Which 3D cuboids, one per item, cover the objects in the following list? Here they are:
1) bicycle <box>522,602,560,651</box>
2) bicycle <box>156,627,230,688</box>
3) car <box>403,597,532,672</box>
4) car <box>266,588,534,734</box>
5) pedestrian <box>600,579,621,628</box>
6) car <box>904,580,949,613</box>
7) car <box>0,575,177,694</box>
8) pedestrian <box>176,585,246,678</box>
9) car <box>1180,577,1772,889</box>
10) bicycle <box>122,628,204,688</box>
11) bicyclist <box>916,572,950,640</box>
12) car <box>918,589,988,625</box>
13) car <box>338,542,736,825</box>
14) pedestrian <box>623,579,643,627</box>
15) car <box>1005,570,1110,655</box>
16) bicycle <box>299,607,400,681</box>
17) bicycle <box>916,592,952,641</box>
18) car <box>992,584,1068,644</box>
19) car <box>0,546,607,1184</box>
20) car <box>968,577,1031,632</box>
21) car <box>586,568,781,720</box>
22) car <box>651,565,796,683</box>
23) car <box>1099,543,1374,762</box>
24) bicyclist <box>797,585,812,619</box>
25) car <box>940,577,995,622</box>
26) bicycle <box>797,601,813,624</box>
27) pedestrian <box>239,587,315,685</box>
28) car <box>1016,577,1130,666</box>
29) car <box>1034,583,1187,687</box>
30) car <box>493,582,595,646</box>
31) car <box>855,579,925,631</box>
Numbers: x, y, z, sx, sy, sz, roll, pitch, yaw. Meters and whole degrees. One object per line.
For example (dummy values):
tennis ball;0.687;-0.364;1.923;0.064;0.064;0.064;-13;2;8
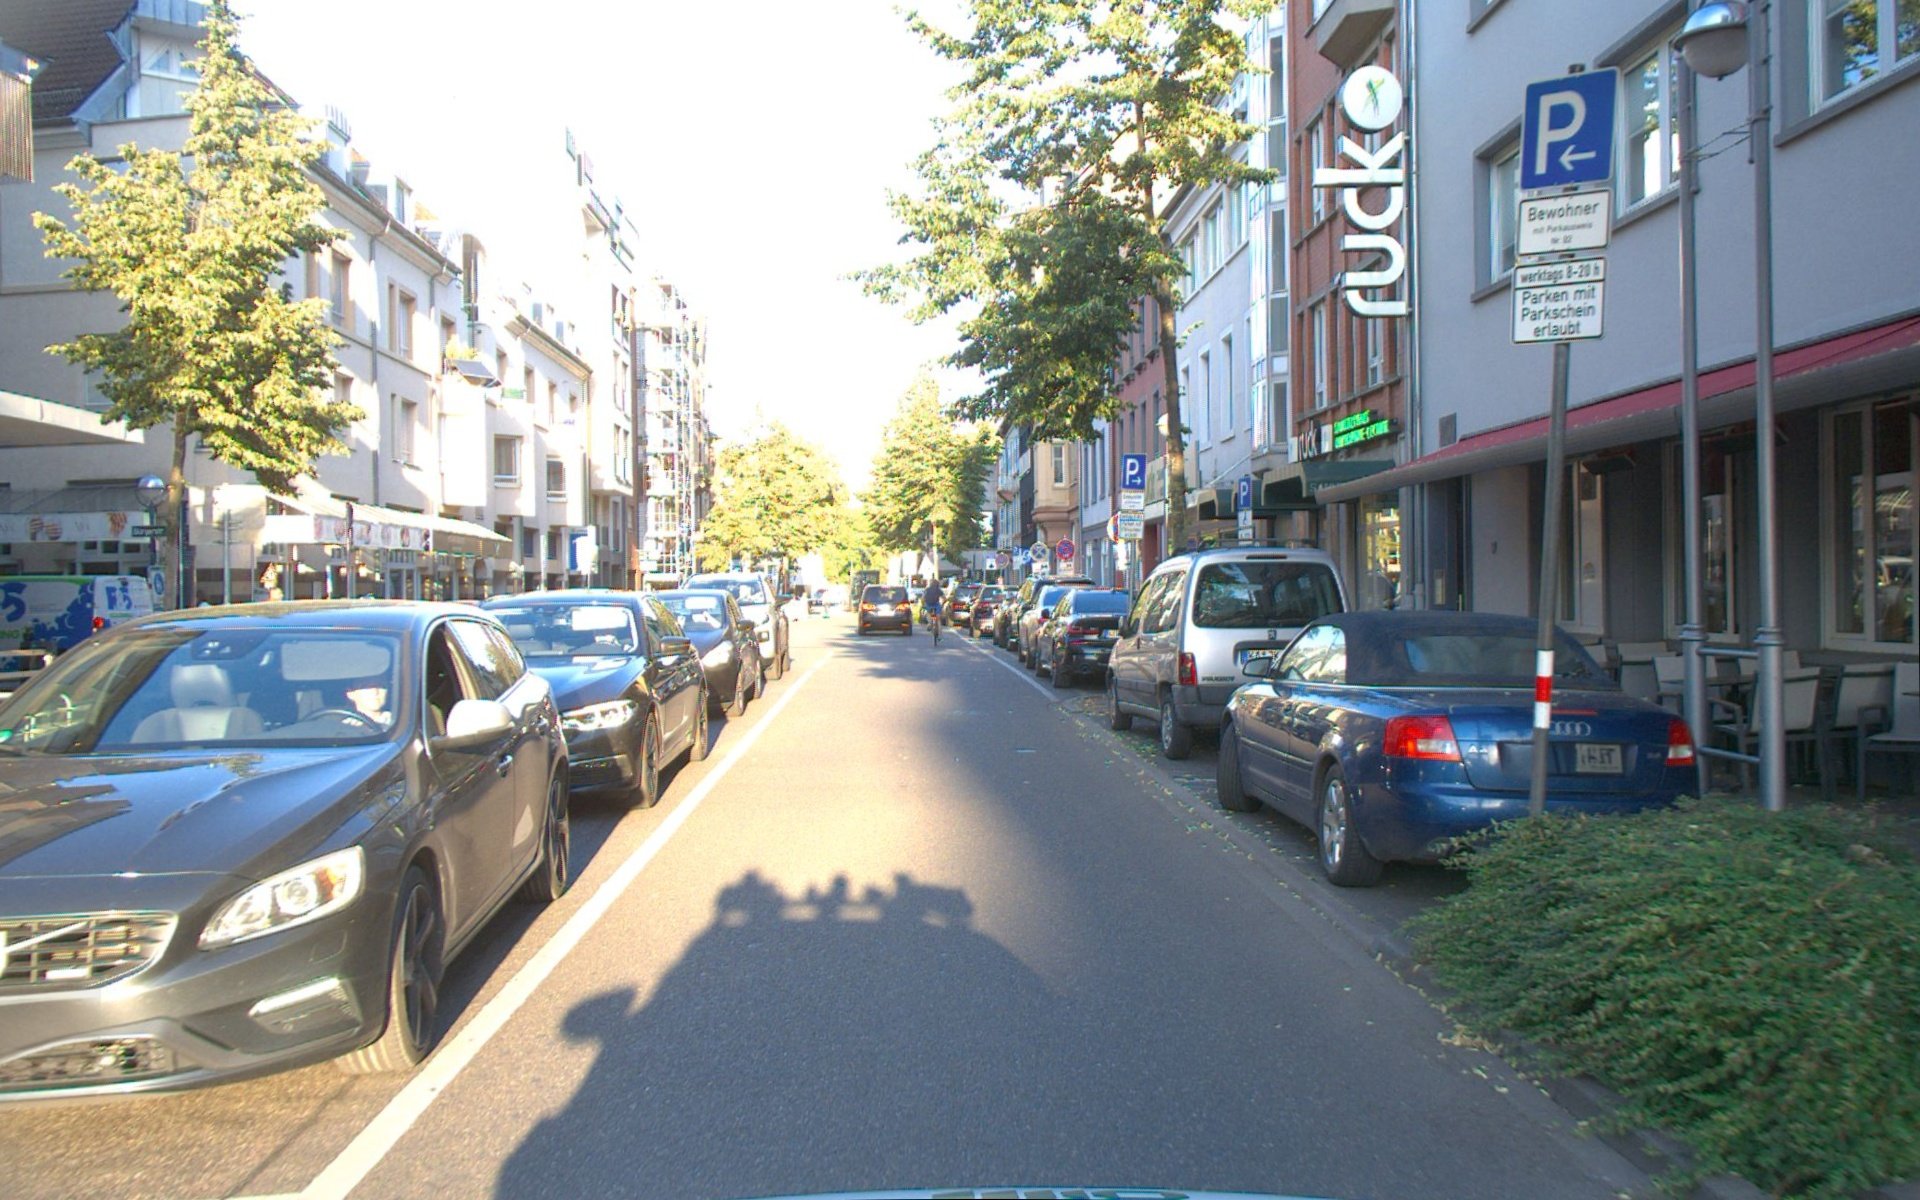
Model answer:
bicycle;-12.140;0.759;48.017;0.598;1.399;2.357;0;0;-3
bicycle;-13.492;0.992;29.136;0.480;1.009;2.014;0;0;-4
car;-9.941;0.671;33.654;1.627;1.427;3.881;0;0;-3
car;-6.976;0.707;21.163;1.954;1.538;4.507;-4;0;-2
pedestrian;-12.943;0.122;61.296;0.703;1.798;0.692;0;-1;-10
car;-2.020;-0.190;99.184;2.222;1.797;4.504;5;-1;-5
car;-15.662;0.542;27.035;4.764;1.860;2.000;0;-1;1
pedestrian;-13.934;0.587;30.801;0.884;1.705;0.780;0;-1;11
car;2.625;0.592;9.575;1.899;1.400;4.179;0;0;-4
bicycle;-14.034;1.004;29.169;0.480;1.009;2.015;0;0;-1
bicyclist;-0.699;0.164;43.022;0.765;1.726;1.006;-2;0;-5
car;-0.296;0.308;71.916;2.911;1.563;1.431;0;-1;-7
car;-2.923;0.526;12.532;1.907;1.673;4.613;-2;0;-2
pedestrian;-12.136;0.122;61.422;0.703;1.771;0.737;0;-1;-10
car;2.146;0.284;37.708;1.846;1.785;5.055;0;0;-3
bicycle;-11.429;0.796;31.082;0.939;1.323;3.124;0;0;-4
bicycle;-0.687;0.434;43.090;0.765;1.225;2.019;-2;0;-5
car;1.818;0.376;44.341;1.726;1.509;4.305;0;0;-2
car;-2.659;0.630;6.355;1.919;1.574;4.506;-1;1;-4
car;1.228;0.156;52.824;1.775;1.697;4.204;0;0;-2
car;-3.216;0.488;20.028;1.689;1.576;4.463;-2;0;-2
car;-3.719;0.370;26.754;1.902;1.673;4.735;-2;0;-4
car;2.477;0.415;15.765;1.622;1.809;4.007;0;1;-5
bicyclist;-8.581;0.114;91.307;0.765;1.861;1.006;-2;0;-5
car;0.260;-0.020;66.084;1.789;1.725;4.364;0;0;-5
bicycle;-8.558;0.710;91.345;0.765;1.225;2.019;-2;0;-5
pedestrian;-12.290;0.632;29.790;0.885;1.705;0.994;-1;1;4
car;2.052;0.393;31.314;1.775;1.554;4.993;0;0;0
car;2.204;0.466;25.331;1.718;1.445;4.507;0;1;-3
car;-10.195;0.343;40.766;1.676;1.479;3.723;0;0;-2
car;-2.255;0.181;54.447;1.952;1.630;4.510;0;0;2
